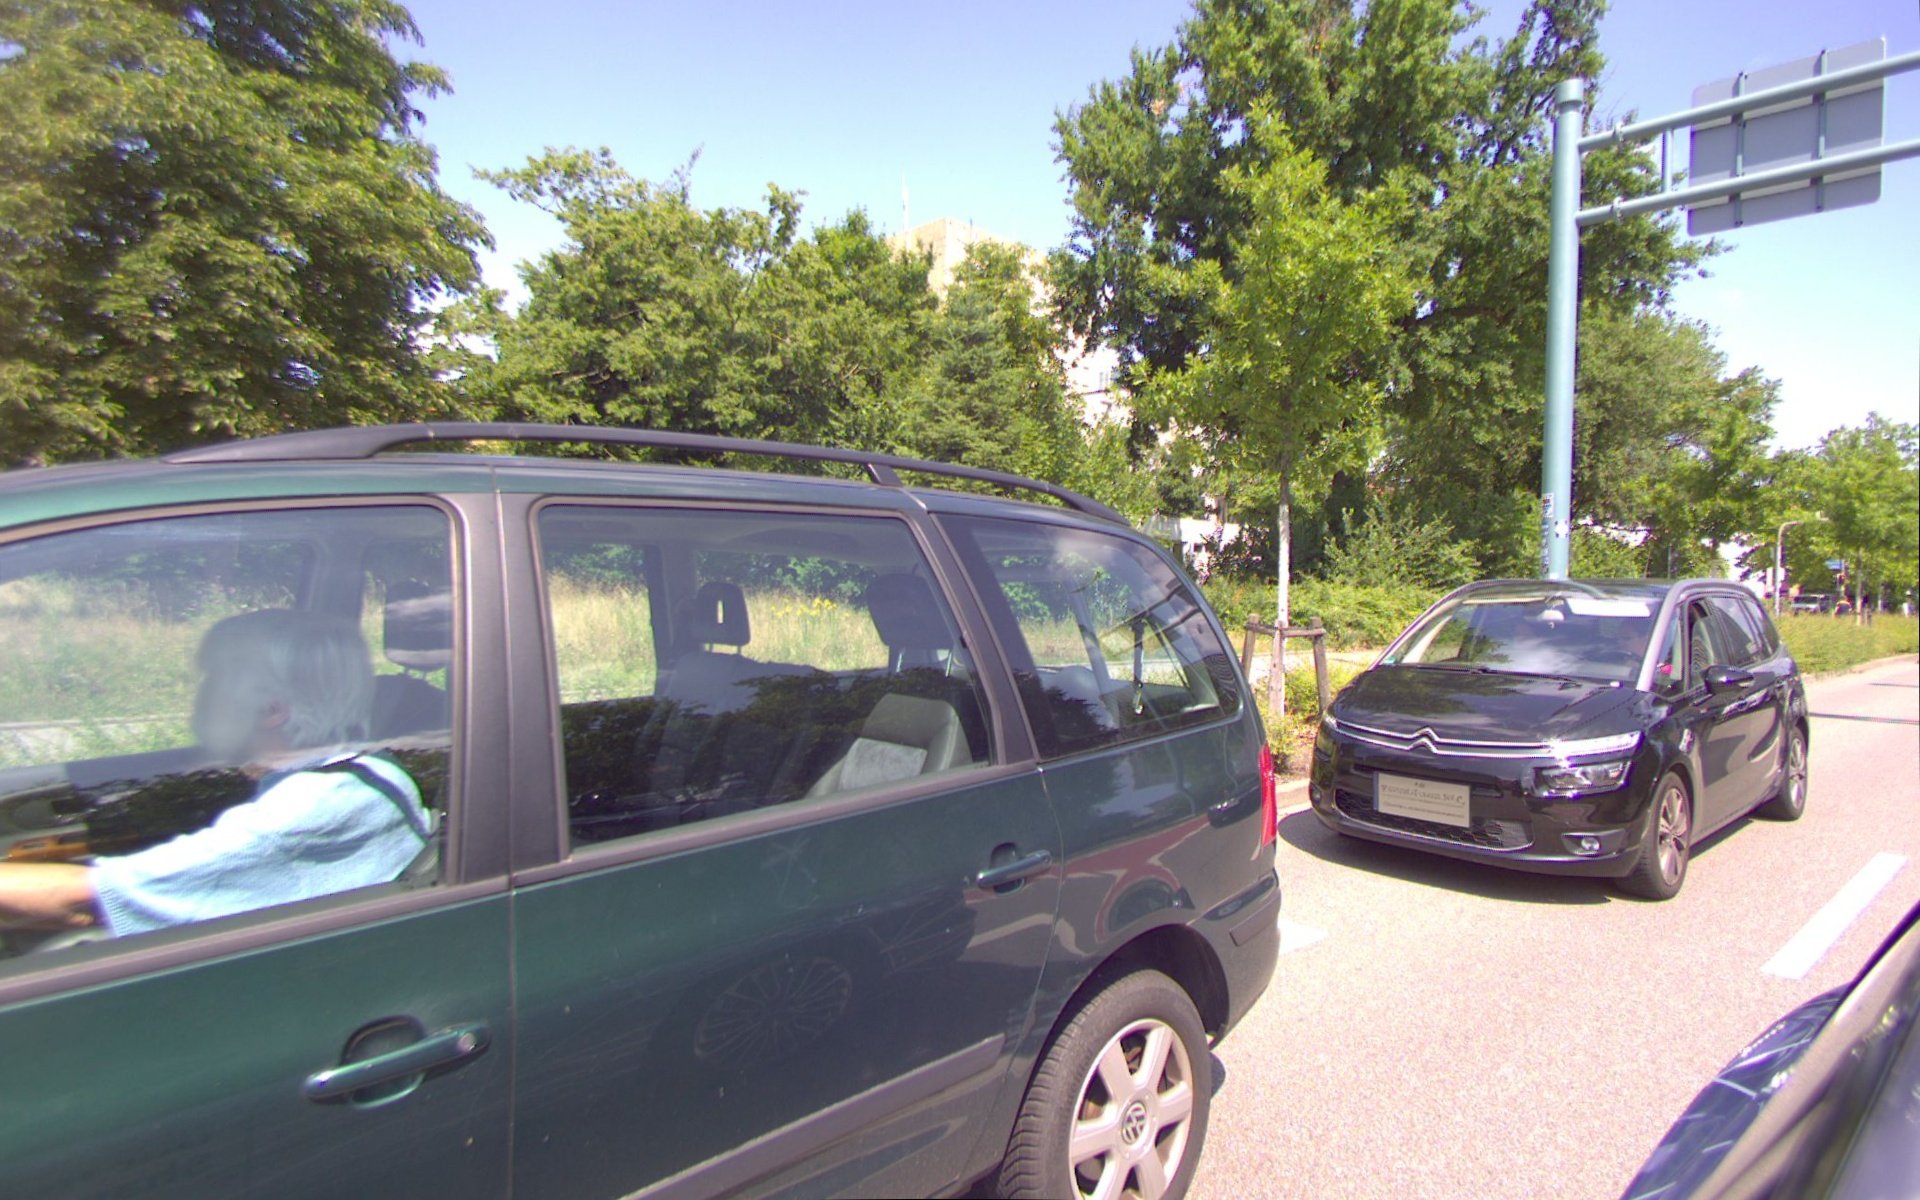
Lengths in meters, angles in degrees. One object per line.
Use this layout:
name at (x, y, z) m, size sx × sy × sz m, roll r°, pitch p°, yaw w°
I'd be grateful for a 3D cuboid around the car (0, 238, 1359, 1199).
car at (-1.138, 0.526, 1.976) m, size 4.315 × 1.737 × 1.804 m, roll 0°, pitch -1°, yaw -41°

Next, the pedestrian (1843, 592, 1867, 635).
pedestrian at (38.348, 0.566, 43.366) m, size 0.635 × 1.787 × 0.875 m, roll 2°, pitch 1°, yaw 34°

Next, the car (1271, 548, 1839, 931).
car at (3.995, 0.607, 6.444) m, size 4.400 × 1.628 × 1.815 m, roll 1°, pitch -1°, yaw -41°

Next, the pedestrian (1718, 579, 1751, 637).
pedestrian at (27.834, 0.283, 36.376) m, size 0.843 × 2.063 × 0.888 m, roll 2°, pitch 1°, yaw 42°
